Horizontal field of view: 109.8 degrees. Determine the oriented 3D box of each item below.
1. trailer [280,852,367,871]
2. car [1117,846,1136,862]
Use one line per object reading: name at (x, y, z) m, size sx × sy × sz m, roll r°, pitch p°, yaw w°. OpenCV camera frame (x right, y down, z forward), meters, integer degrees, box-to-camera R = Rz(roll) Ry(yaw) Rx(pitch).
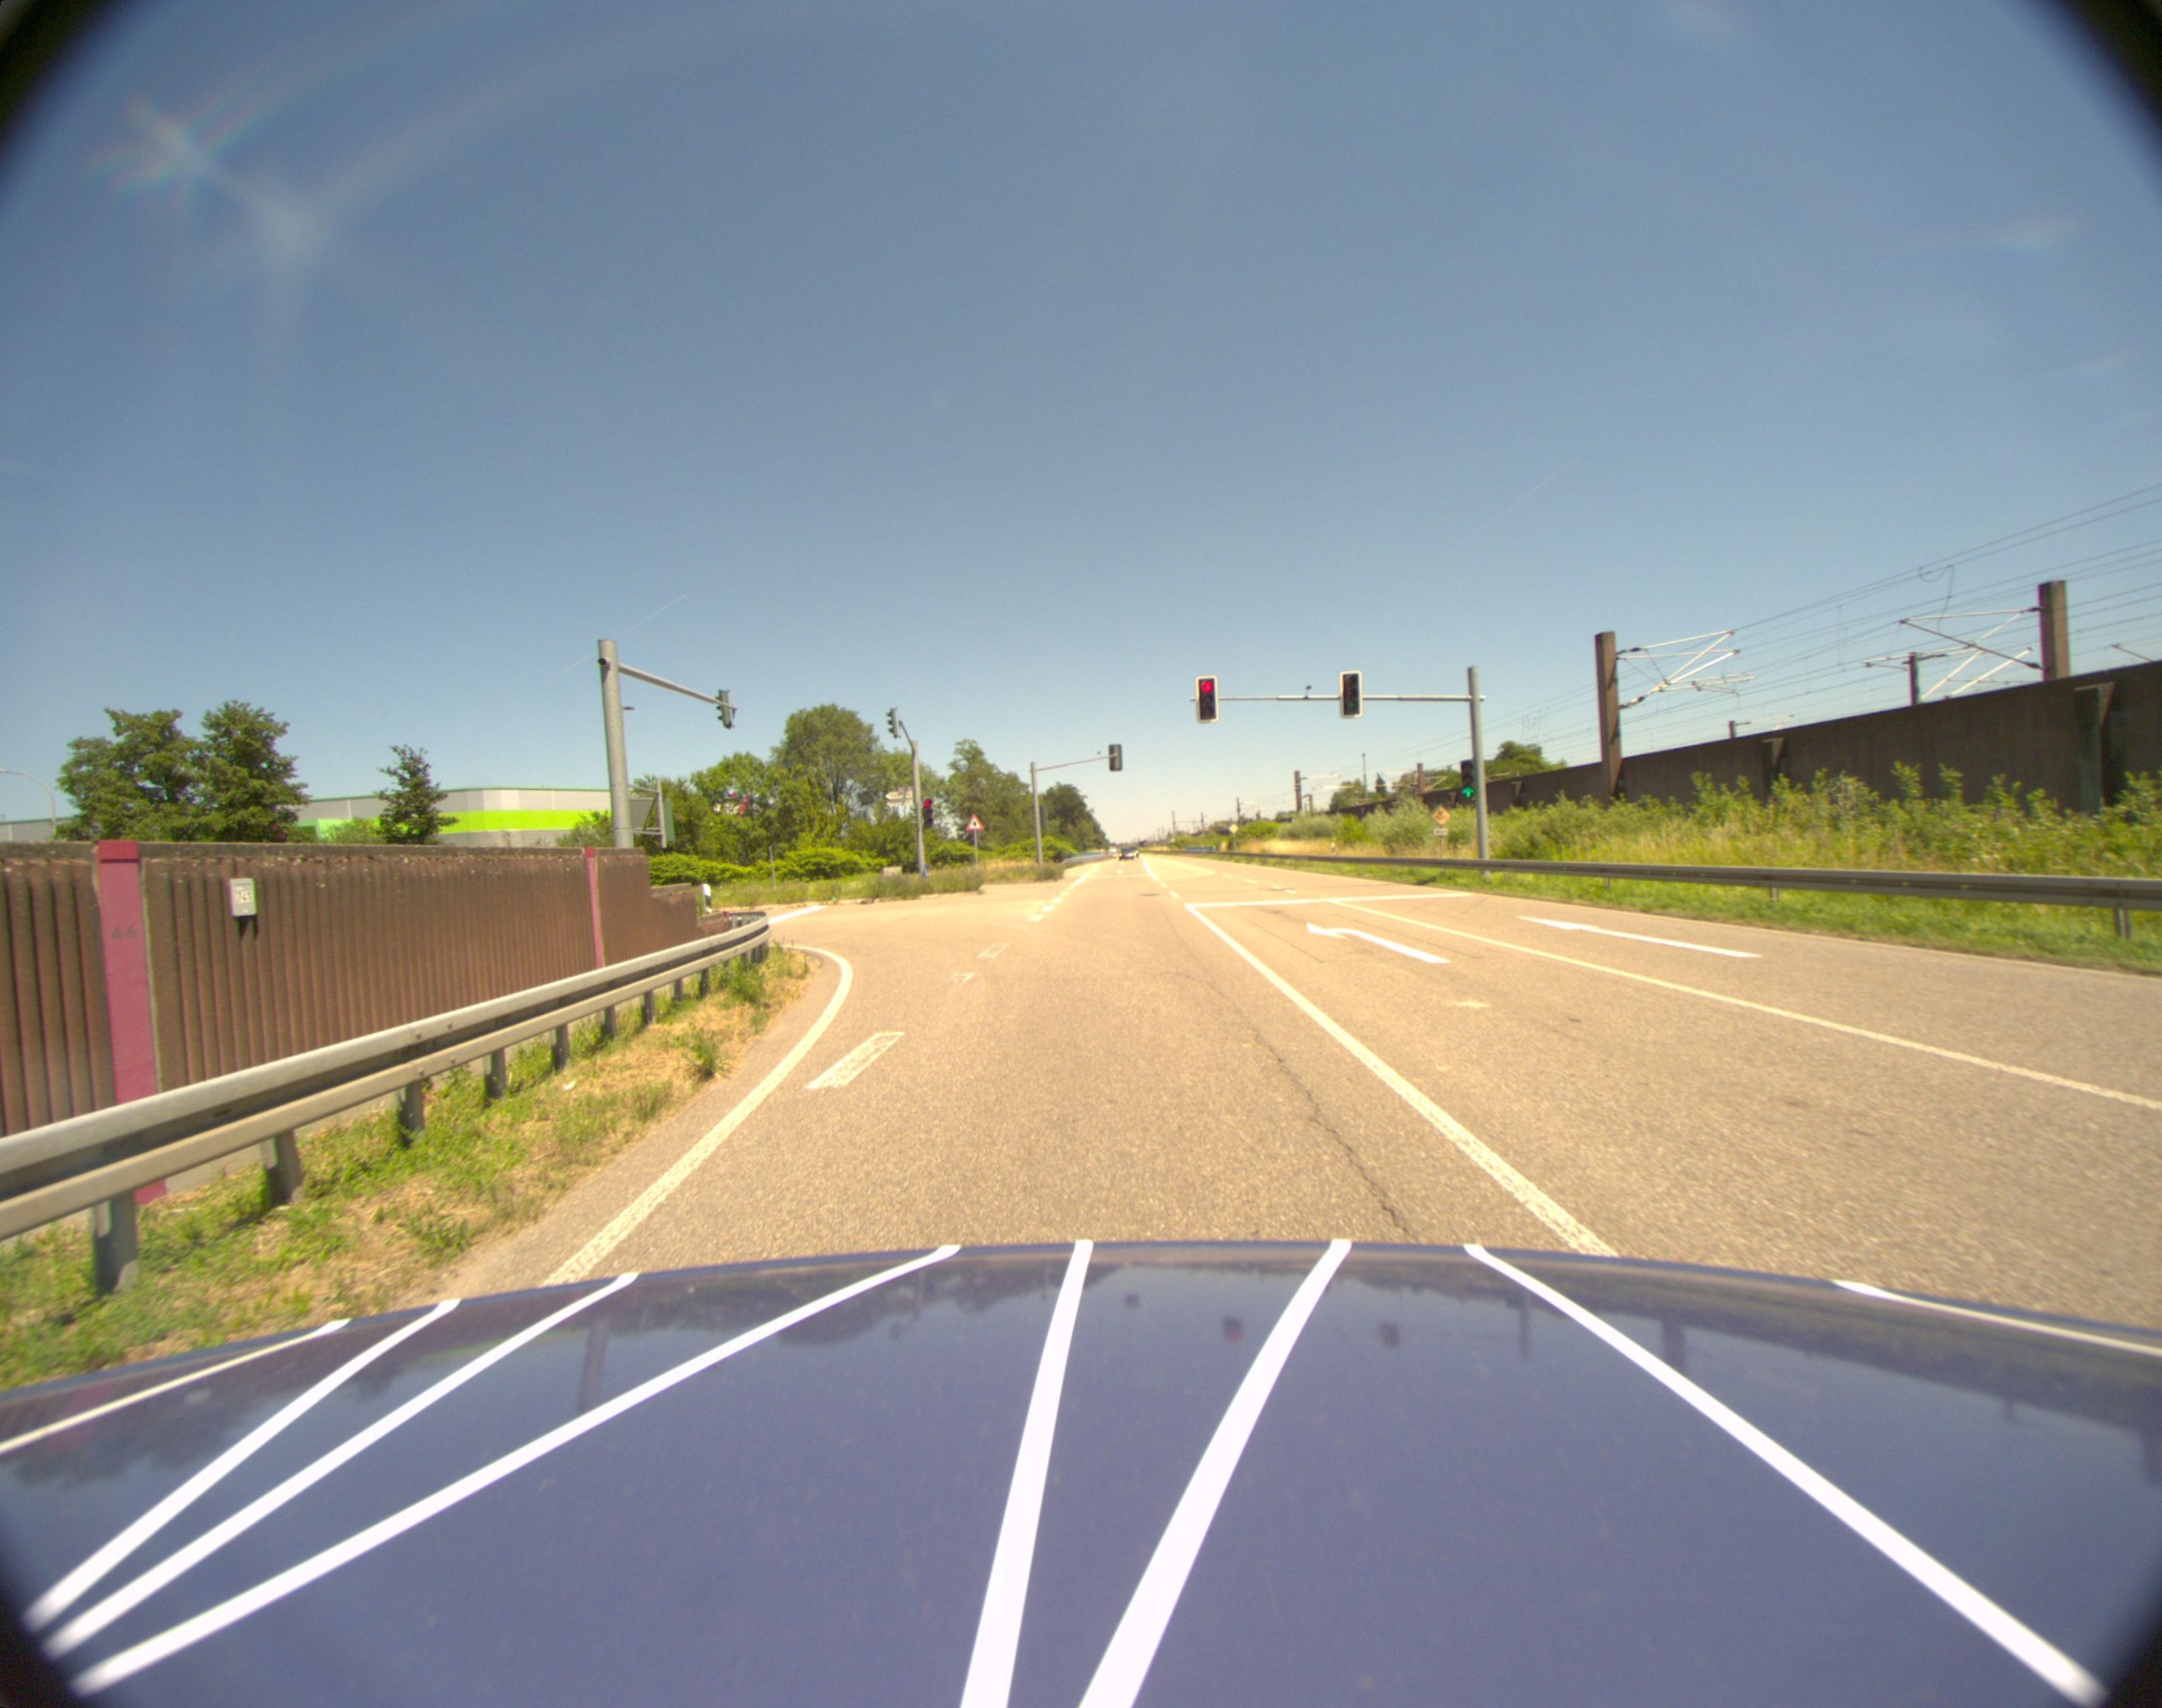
trailer at (-36.728, 0.357, 36.922) m, size 2.857 × 0.734 × 1.561 m, roll -4°, pitch 2°, yaw -41°
car at (5.490, -0.010, 90.563) m, size 1.998 × 1.718 × 4.001 m, roll -3°, pitch 1°, yaw 6°
